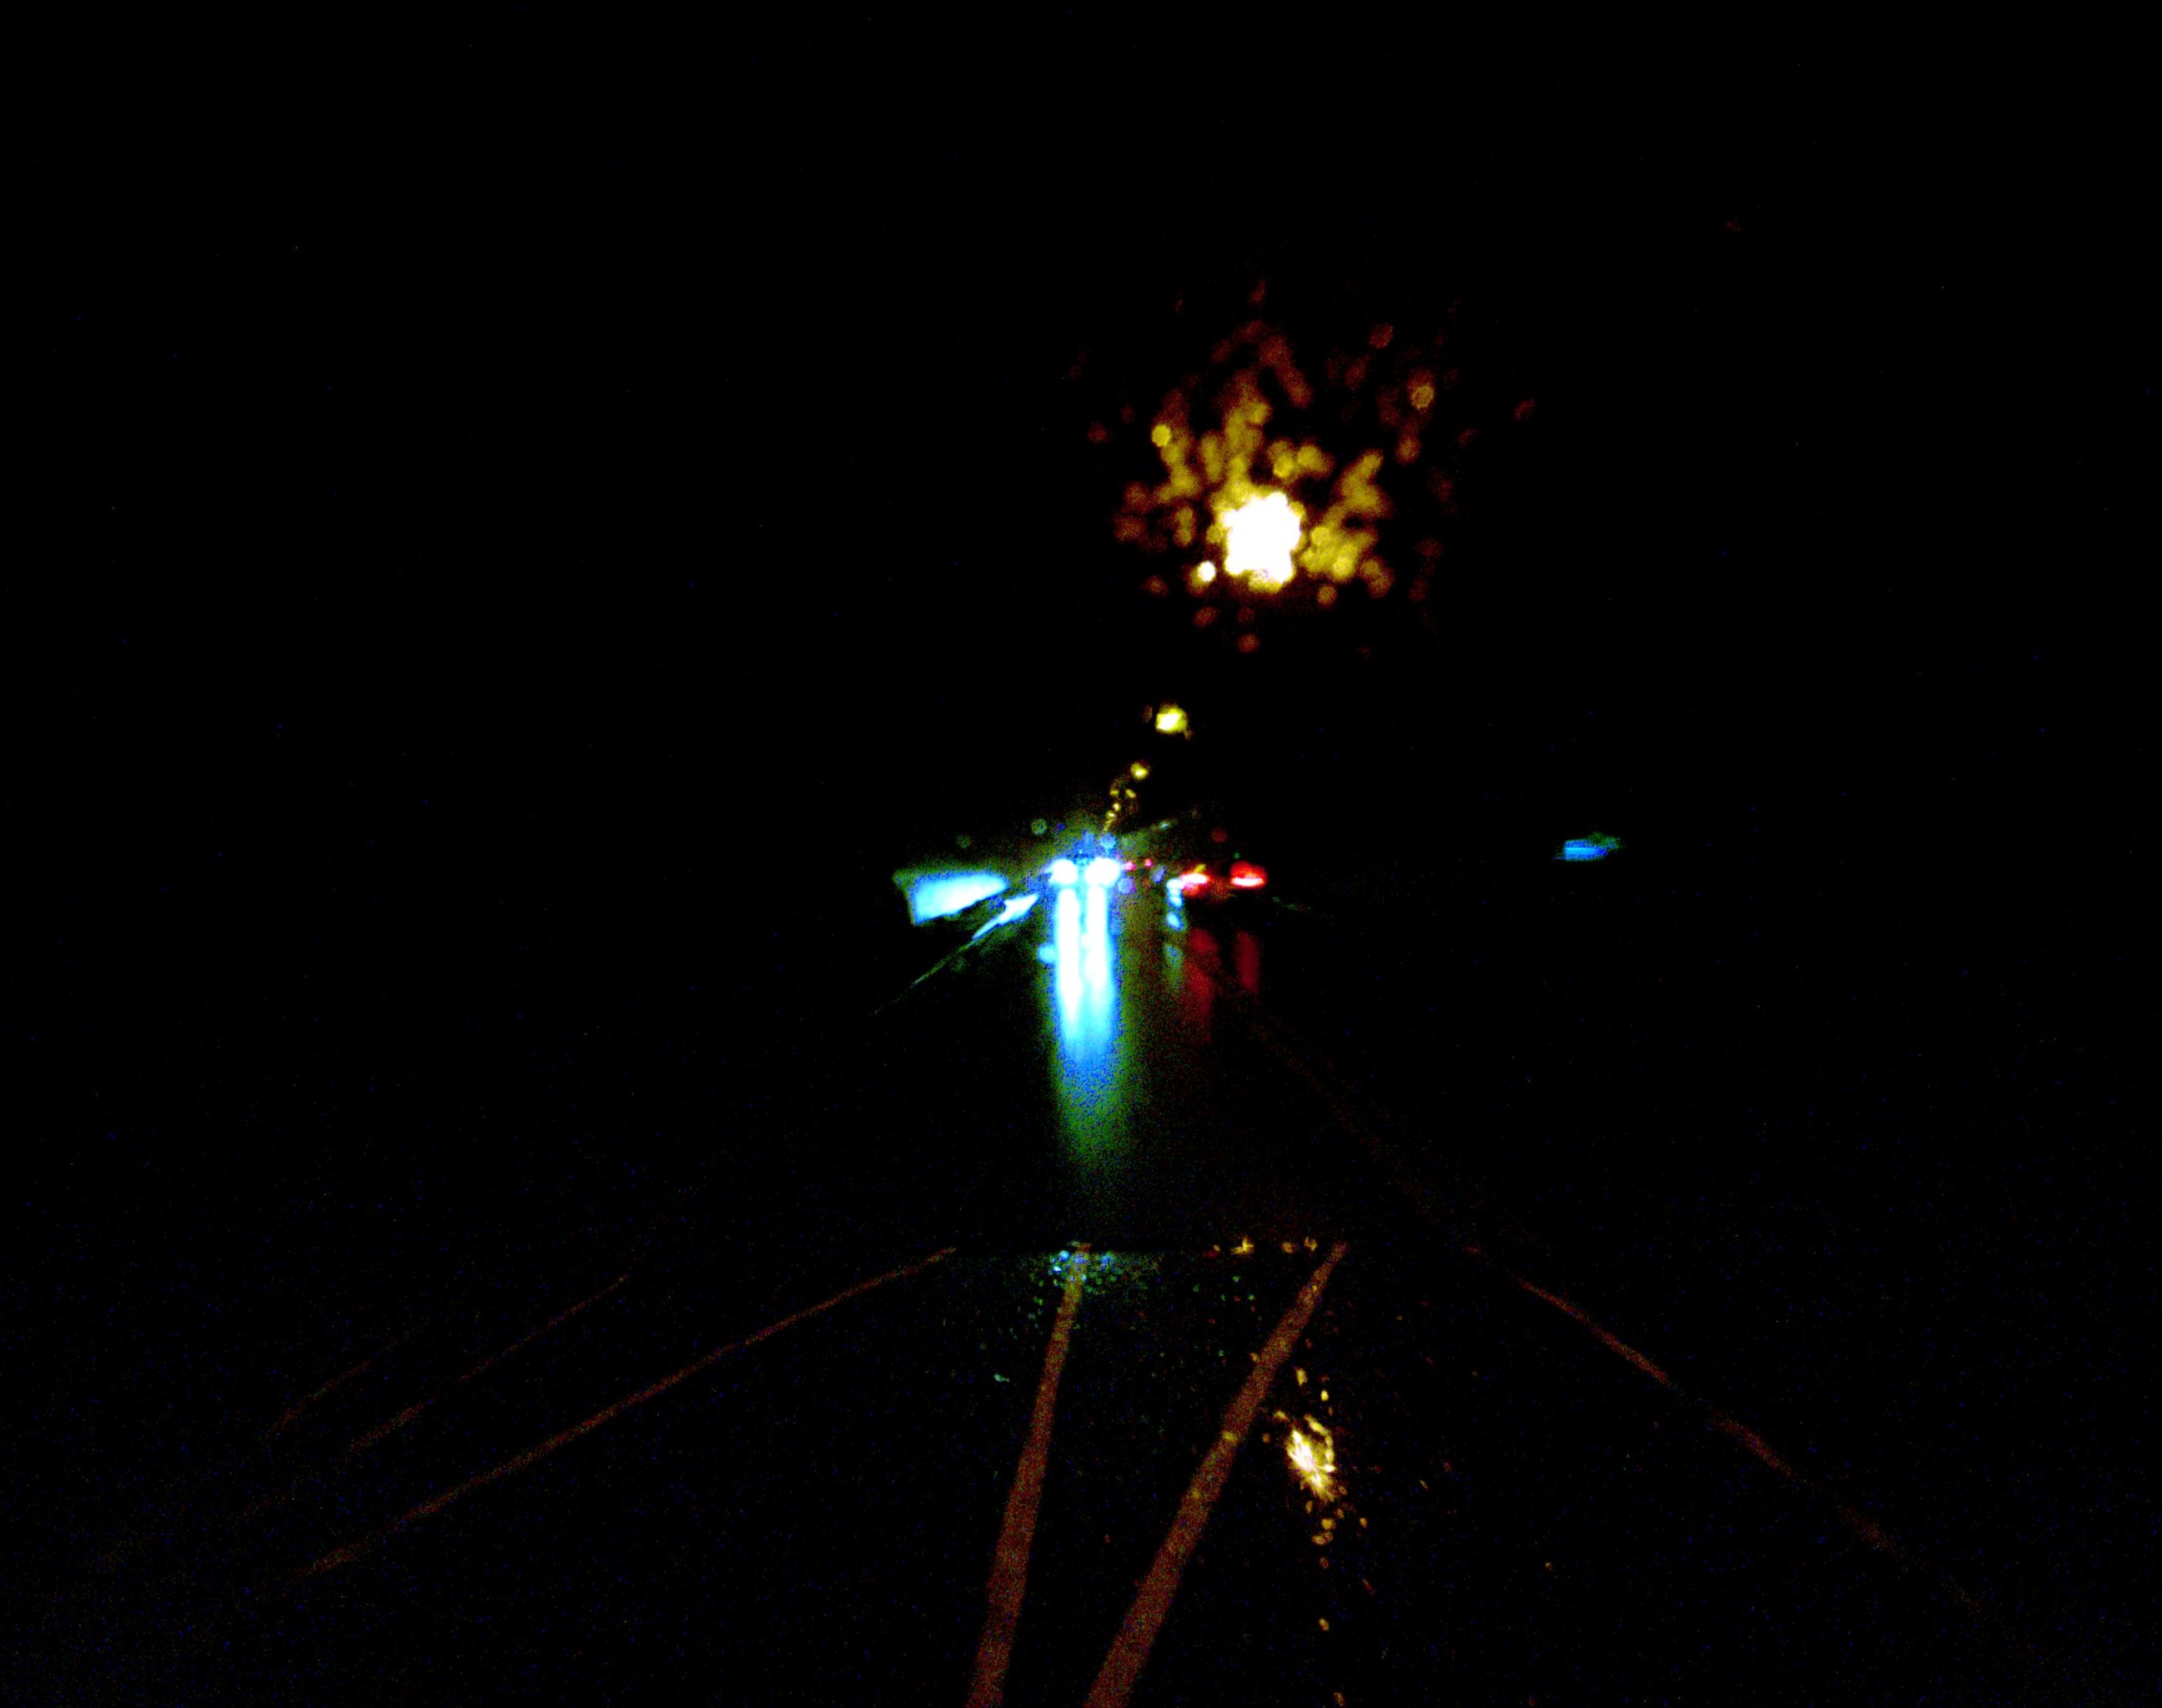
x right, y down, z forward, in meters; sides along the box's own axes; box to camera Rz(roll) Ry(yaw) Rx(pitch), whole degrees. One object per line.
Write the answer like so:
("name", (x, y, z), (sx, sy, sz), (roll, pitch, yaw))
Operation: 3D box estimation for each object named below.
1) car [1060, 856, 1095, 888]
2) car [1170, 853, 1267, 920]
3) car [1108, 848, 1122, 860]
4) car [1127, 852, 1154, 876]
("car", (-0.155, 0.857, 37.902), (1.627, 1.487, 3.585), (-1, 0, 1))
("car", (3.357, 0.736, 19.355), (1.753, 1.471, 4.476), (-1, 0, 1))
("car", (4.812, 0.005, 106.791), (1.918, 1.718, 4.001), (-1, 0, 4))
("car", (4.223, 0.671, 54.651), (1.701, 1.666, 4.127), (-1, 0, 1))
